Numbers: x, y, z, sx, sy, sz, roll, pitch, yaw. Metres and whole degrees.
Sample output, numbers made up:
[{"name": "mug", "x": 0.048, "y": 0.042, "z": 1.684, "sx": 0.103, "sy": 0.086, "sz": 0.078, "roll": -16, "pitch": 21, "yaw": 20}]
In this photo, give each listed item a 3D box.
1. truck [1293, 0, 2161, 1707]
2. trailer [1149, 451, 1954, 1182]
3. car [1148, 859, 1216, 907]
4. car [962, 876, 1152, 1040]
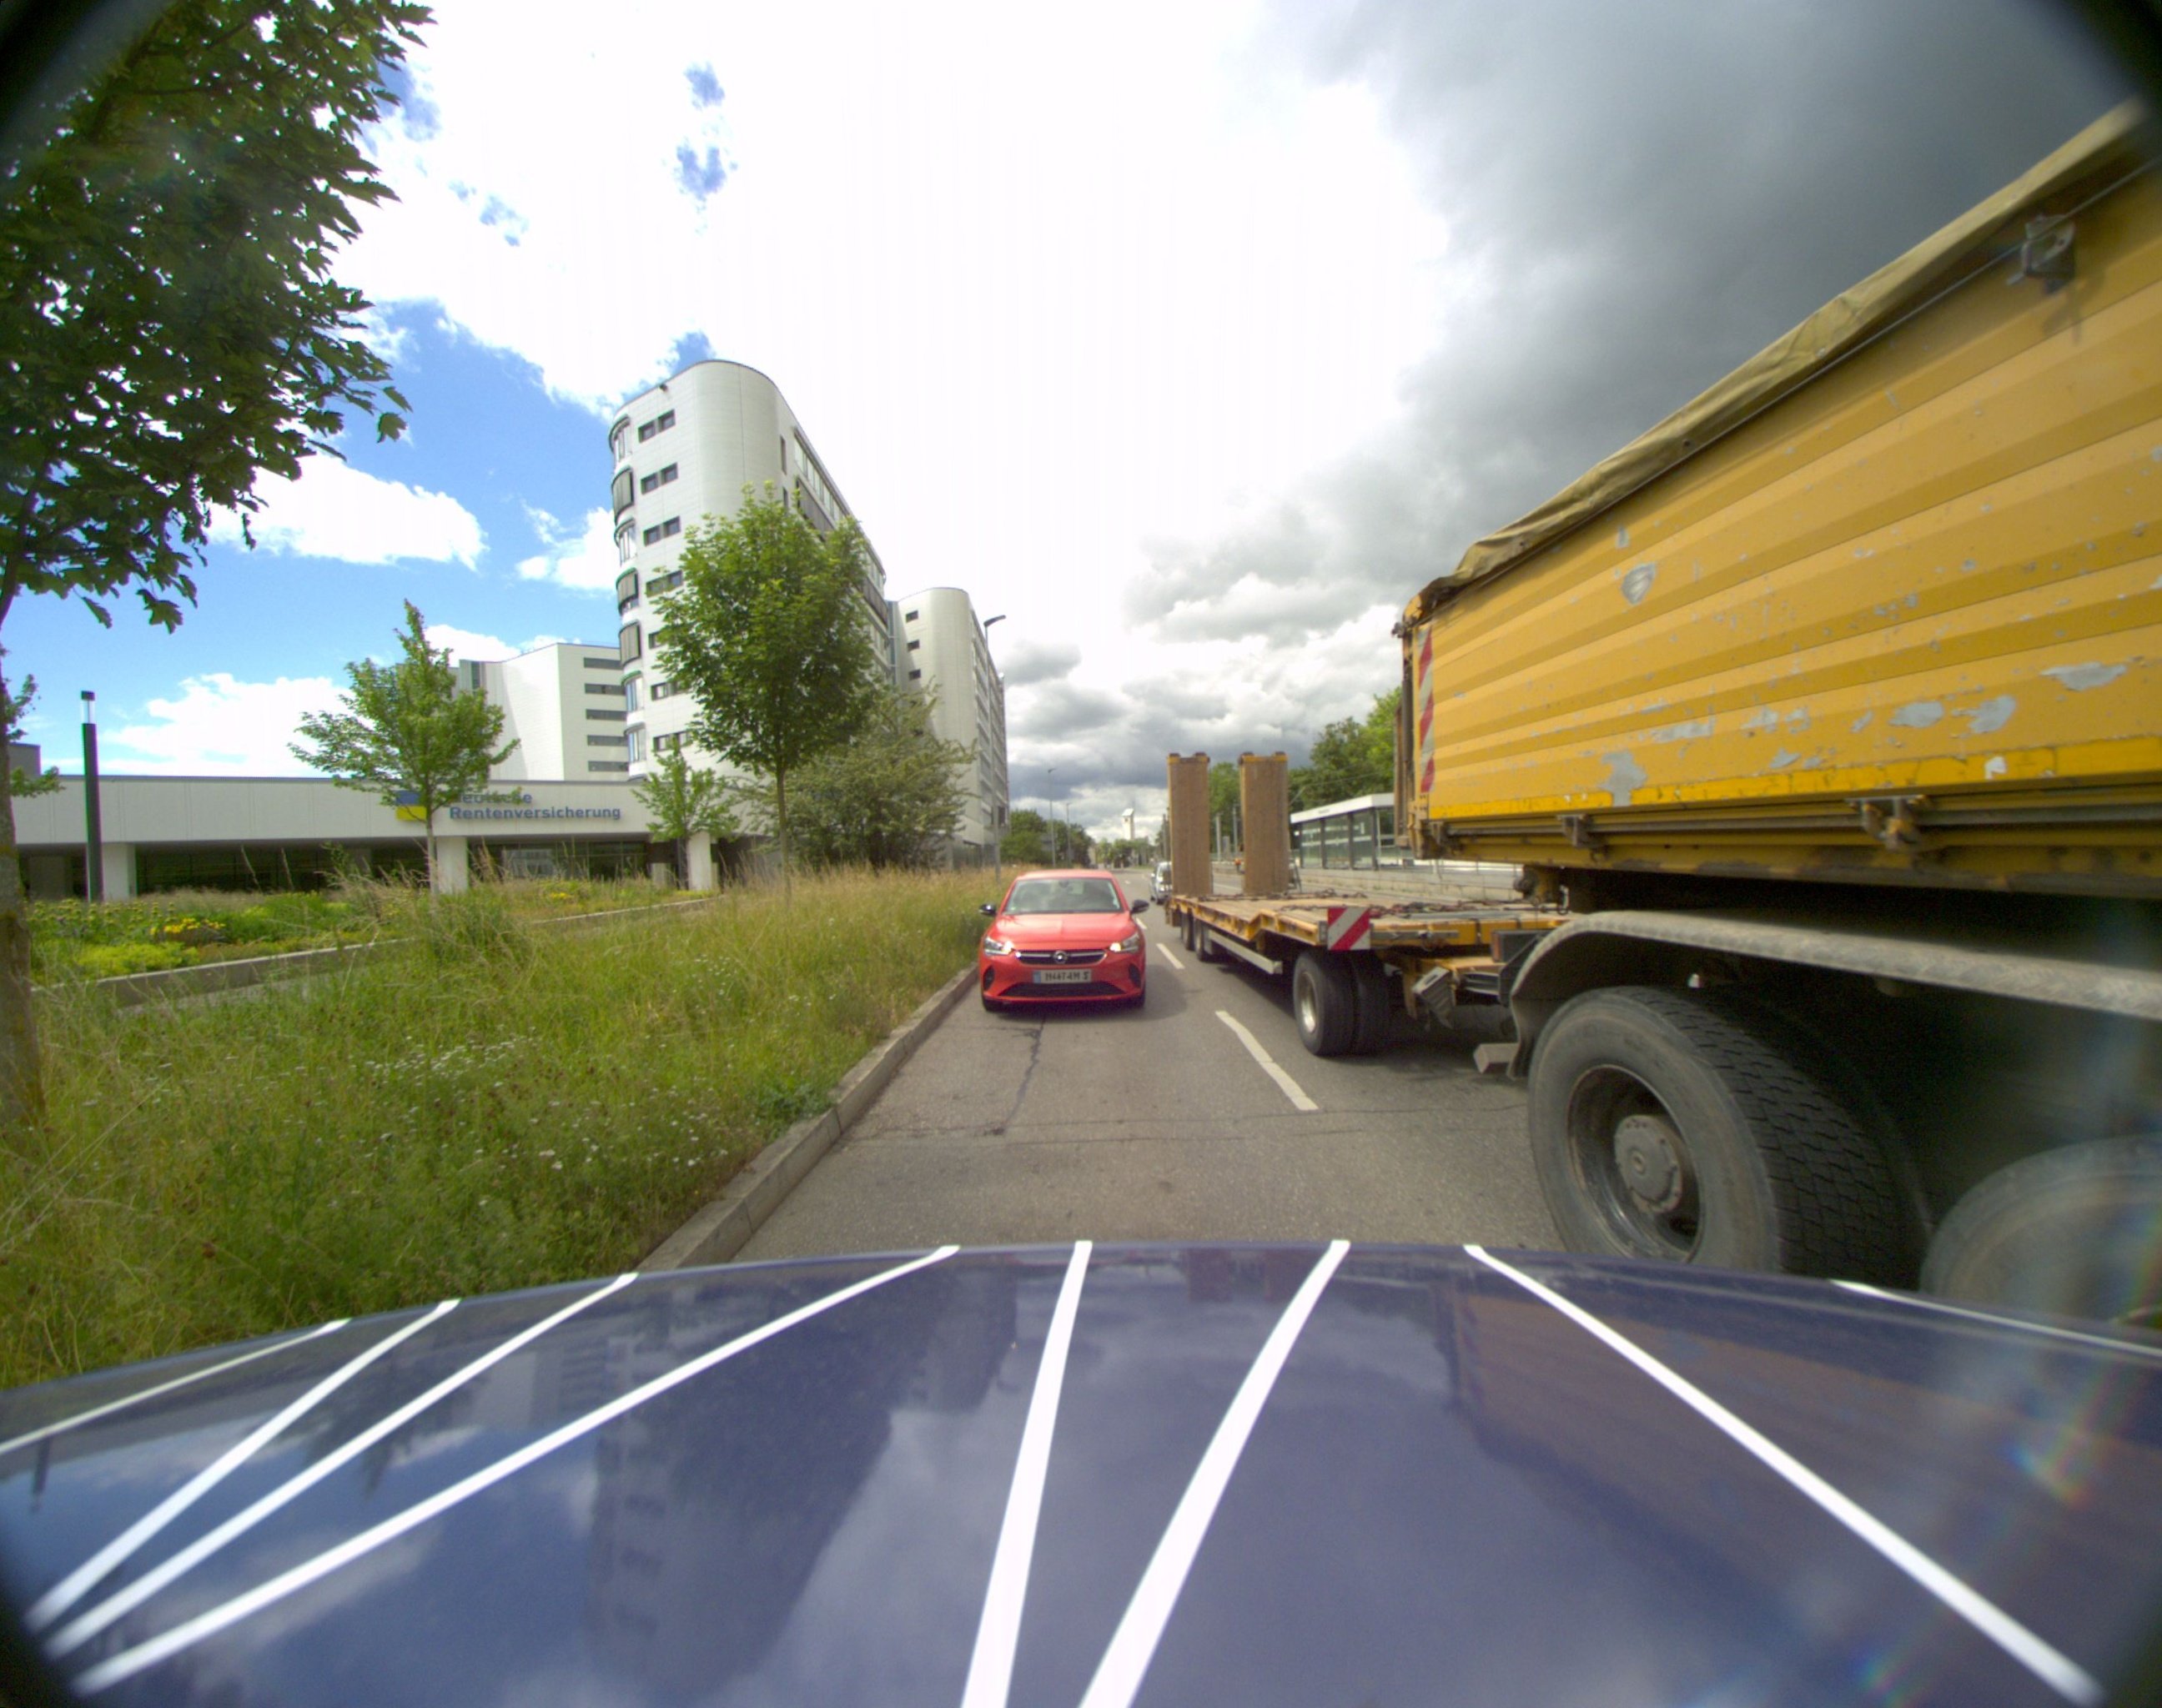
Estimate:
[{"name": "truck", "x": 2.759, "y": -0.052, "z": 0.118, "sx": 3.057, "sy": 3.374, "sz": 8.006, "roll": -2, "pitch": 0, "yaw": 0}, {"name": "trailer", "x": 2.937, "y": -0.169, "z": 9.420, "sx": 3.057, "sy": 3.676, "sz": 10.965, "roll": -2, "pitch": 0, "yaw": 0}, {"name": "car", "x": 3.284, "y": 0.896, "z": 25.400, "sx": 1.784, "sy": 1.408, "sz": 3.785, "roll": -2, "pitch": 0, "yaw": 1}, {"name": "car", "x": -0.192, "y": 1.022, "z": 8.905, "sx": 1.749, "sy": 1.408, "sz": 3.676, "roll": -1, "pitch": 0, "yaw": 1}]
